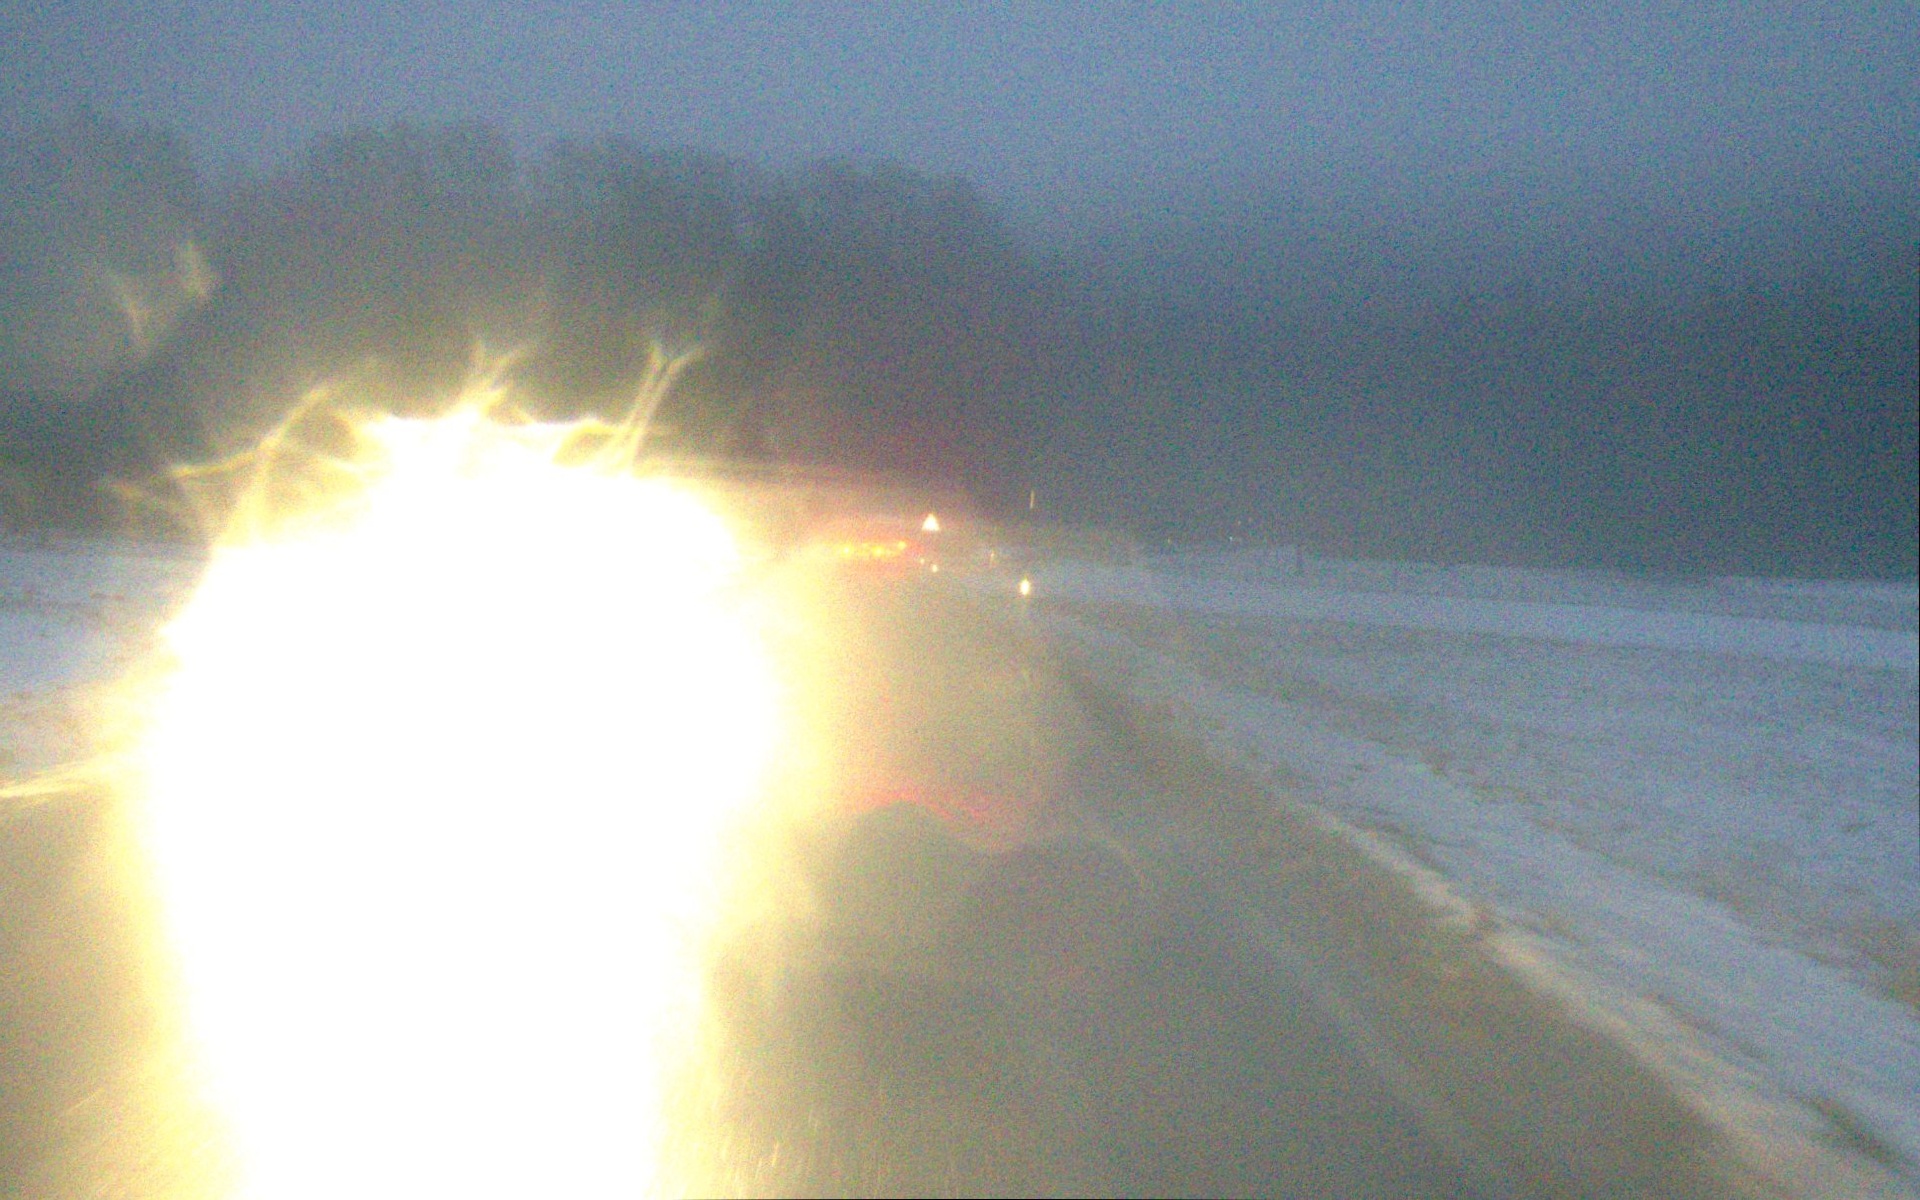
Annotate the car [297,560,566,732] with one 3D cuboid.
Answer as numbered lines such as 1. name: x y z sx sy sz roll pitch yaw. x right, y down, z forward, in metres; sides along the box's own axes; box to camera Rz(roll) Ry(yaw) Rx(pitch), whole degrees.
1. car: -4.511 0.346 29.902 1.727 1.341 4.222 -1 1 -1

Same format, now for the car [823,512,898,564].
1. car: -4.072 -2.535 141.168 1.995 2.044 3.997 2 1 15
